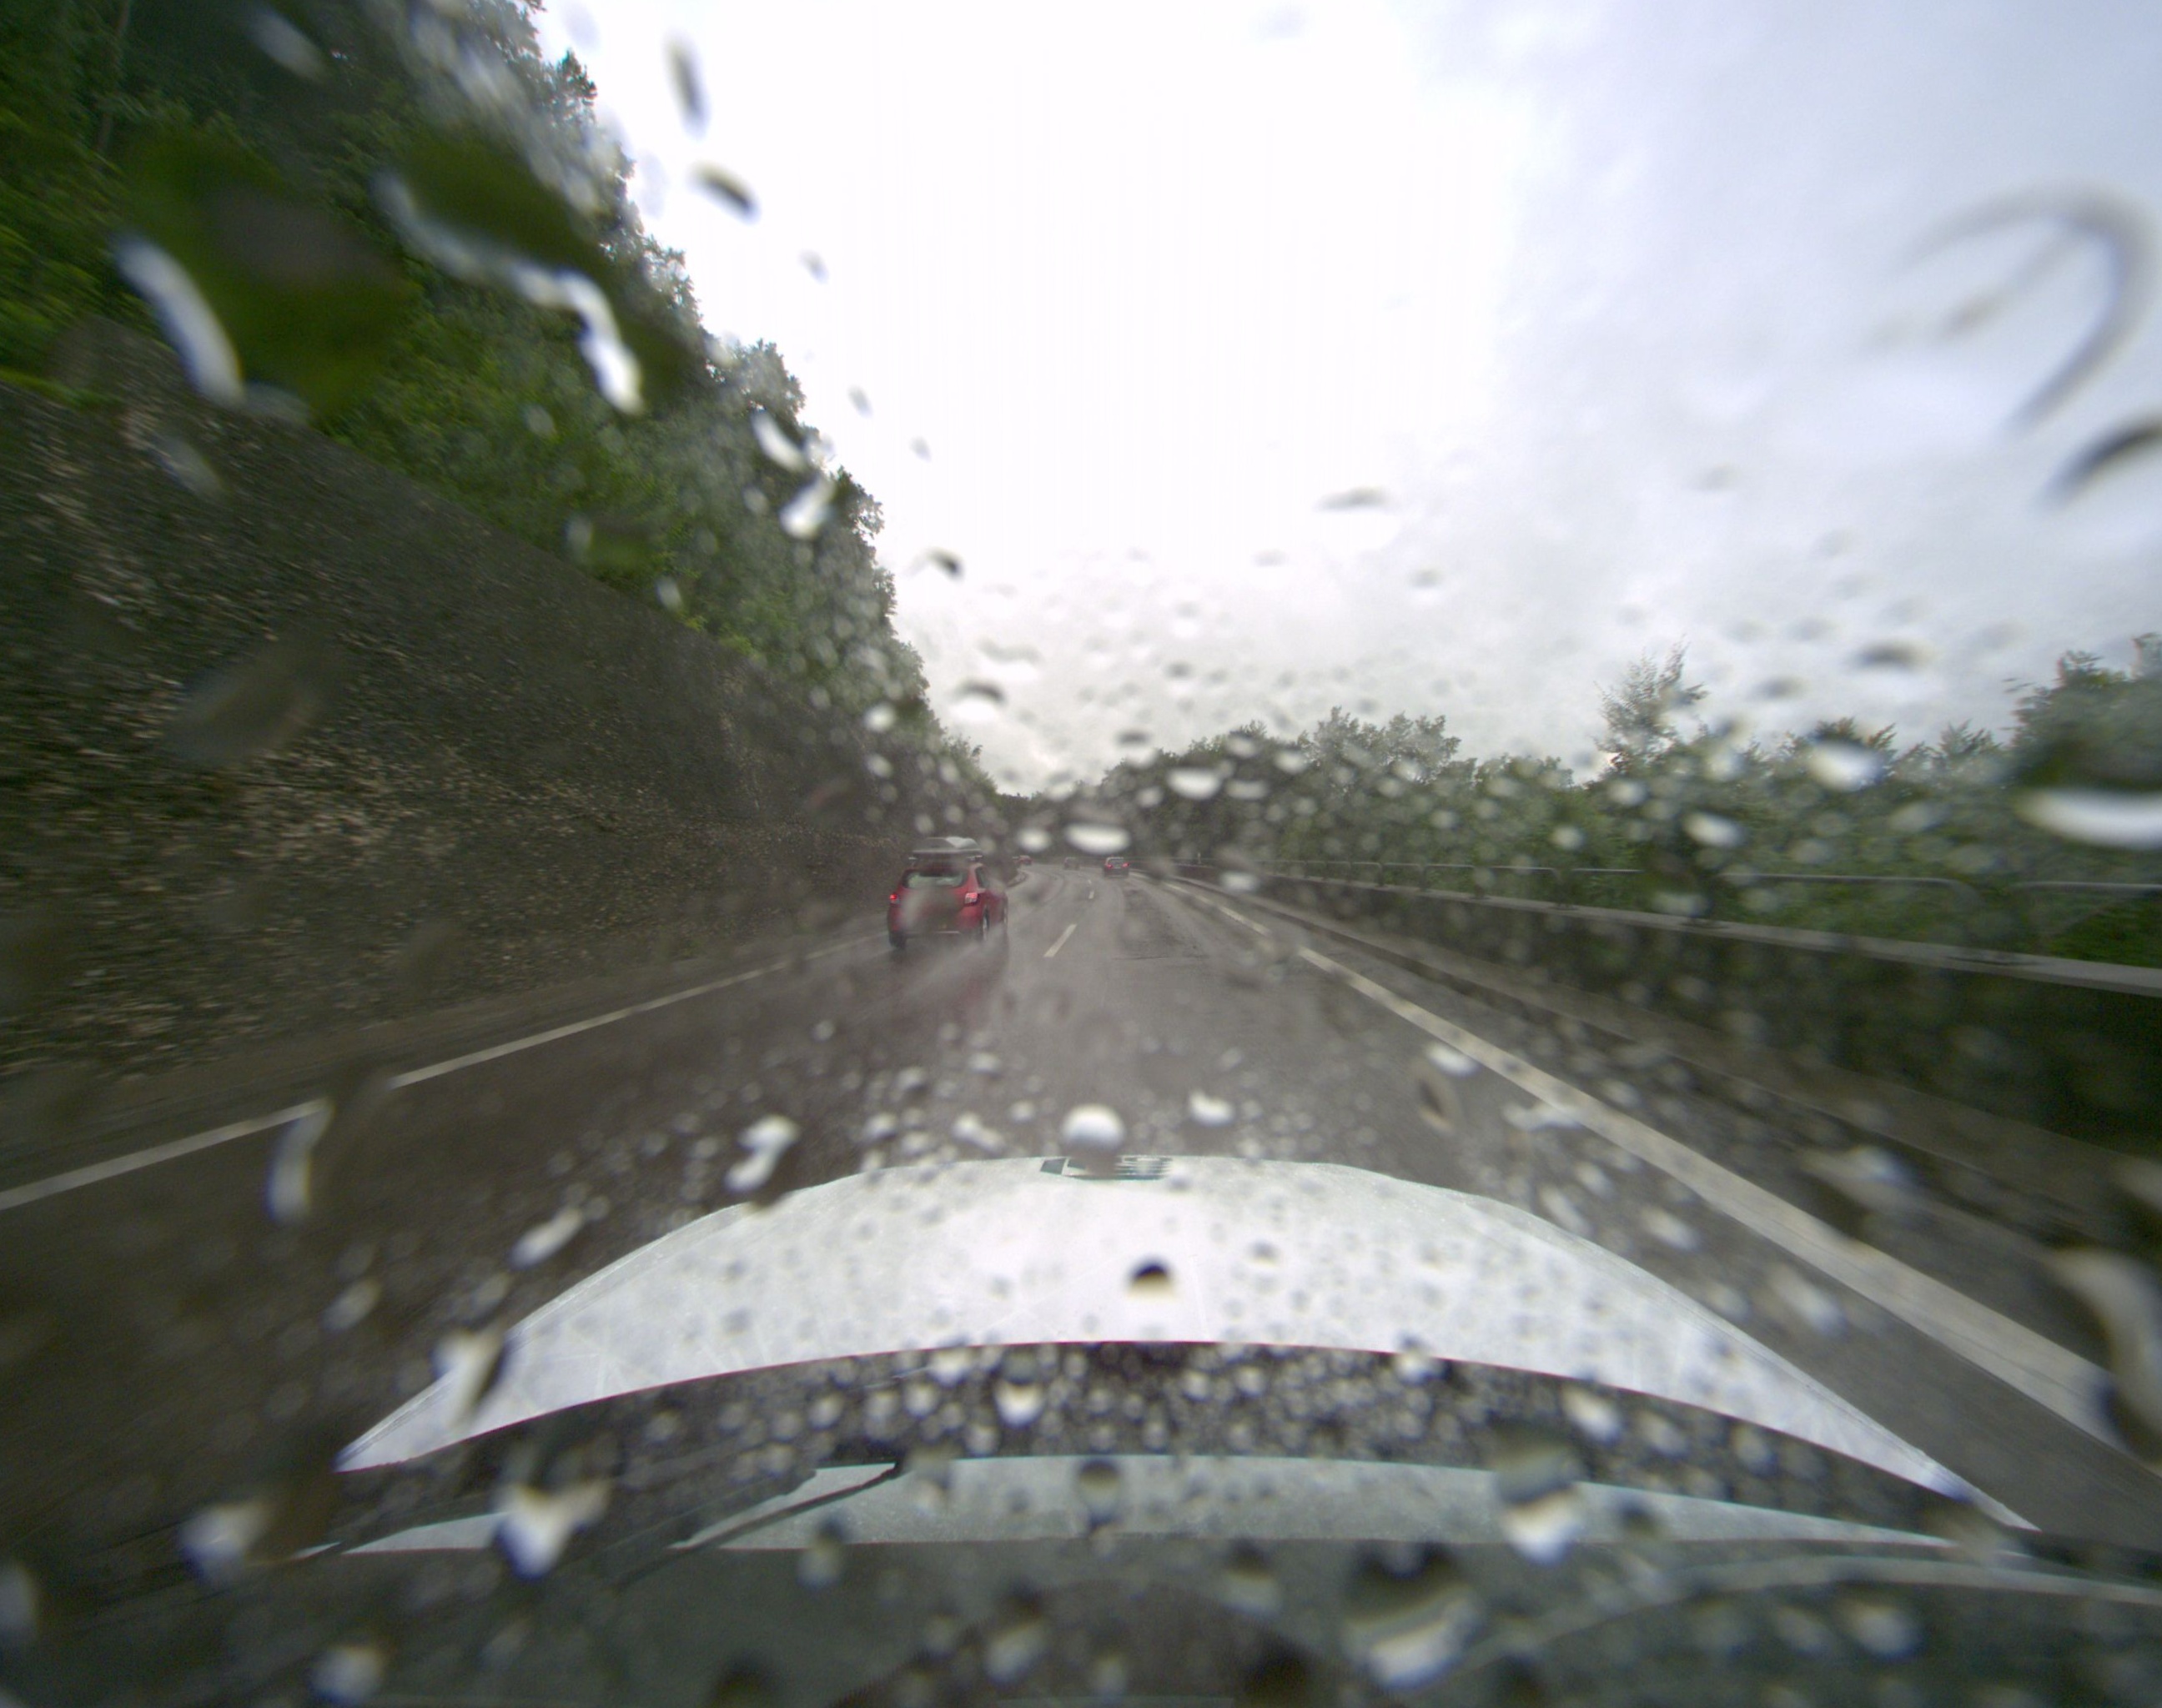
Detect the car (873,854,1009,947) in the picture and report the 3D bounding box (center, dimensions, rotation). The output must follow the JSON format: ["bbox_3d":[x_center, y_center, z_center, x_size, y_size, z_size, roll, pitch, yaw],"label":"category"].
[{"bbox_3d":[-2.599,0.811,16.097,1.987,1.552,3.998,-2,0,-1],"label":"car"}]

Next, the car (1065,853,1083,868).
[{"bbox_3d":[-0.915,0.777,98.333,1.989,1.750,3.996,-1,-1,-3],"label":"car"}]

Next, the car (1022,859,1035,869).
[{"bbox_3d":[-8.848,1.670,136.529,1.800,1.467,3.988,-2,0,-8],"label":"car"}]

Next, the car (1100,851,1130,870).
[{"bbox_3d":[2.462,0.490,59.196,1.796,1.307,3.995,-2,0,-3],"label":"car"}]

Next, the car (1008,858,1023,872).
[{"bbox_3d":[-9.901,1.661,123.190,1.989,1.904,3.995,-1,-1,-3],"label":"car"}]
